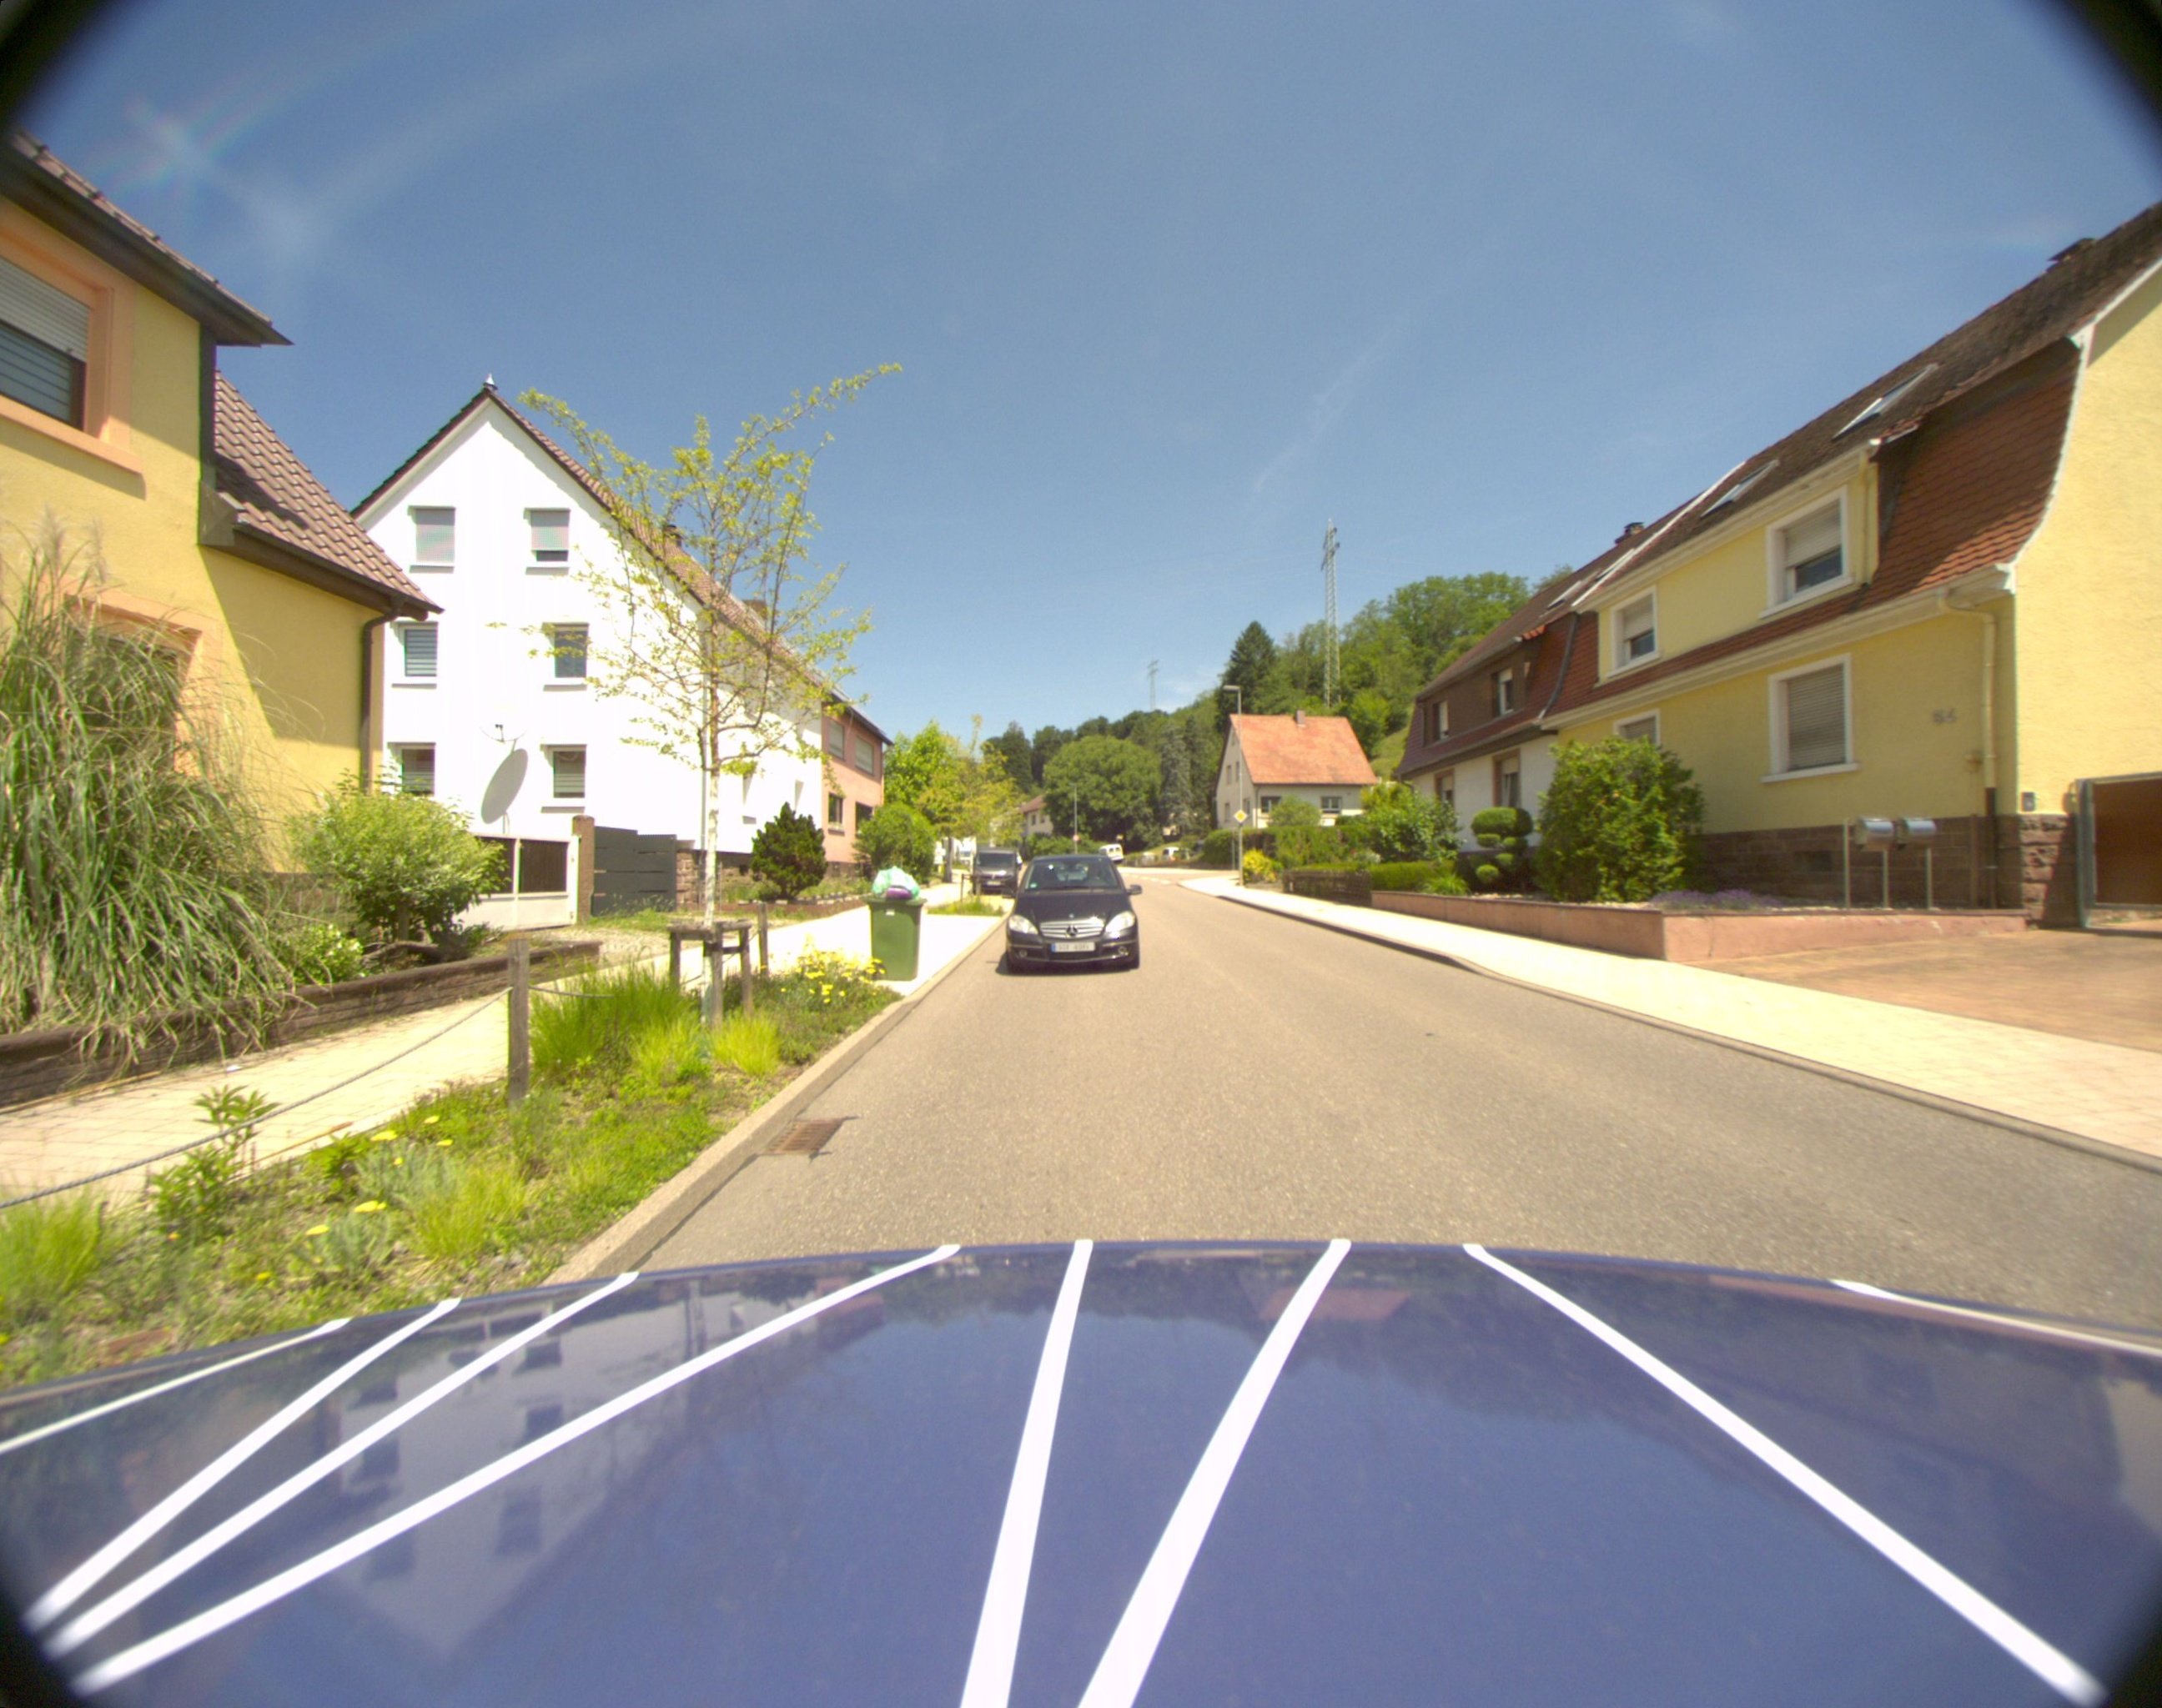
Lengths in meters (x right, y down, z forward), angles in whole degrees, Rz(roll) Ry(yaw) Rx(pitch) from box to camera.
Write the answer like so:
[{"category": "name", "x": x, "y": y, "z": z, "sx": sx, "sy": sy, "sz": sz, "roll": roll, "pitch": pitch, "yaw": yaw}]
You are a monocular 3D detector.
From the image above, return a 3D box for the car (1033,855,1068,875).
[{"category": "car", "x": -2.229, "y": 0.754, "z": 54.000, "sx": 1.912, "sy": 1.342, "sz": 3.996, "roll": -1, "pitch": 0, "yaw": -10}]

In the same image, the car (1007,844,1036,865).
[{"category": "car", "x": -5.583, "y": 0.046, "z": 70.652, "sx": 1.970, "sy": 1.823, "sz": 4.459, "roll": 0, "pitch": 0, "yaw": -13}]

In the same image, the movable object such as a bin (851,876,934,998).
[{"category": "movable object such as a bin", "x": -2.314, "y": 0.994, "z": 9.436, "sx": 0.794, "sy": 1.387, "sz": 0.925, "roll": -1, "pitch": 1, "yaw": -3}]

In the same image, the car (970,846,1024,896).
[{"category": "car", "x": -3.285, "y": 0.623, "z": 30.498, "sx": 1.860, "sy": 1.832, "sz": 4.669, "roll": 1, "pitch": 0, "yaw": -3}]

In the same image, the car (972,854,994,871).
[{"category": "car", "x": -8.487, "y": 0.694, "z": 65.485, "sx": 1.676, "sy": 1.368, "sz": 3.996, "roll": 0, "pitch": 0, "yaw": -10}]

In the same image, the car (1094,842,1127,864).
[{"category": "car", "x": 2.765, "y": -0.083, "z": 71.992, "sx": 1.706, "sy": 1.937, "sz": 3.993, "roll": -2, "pitch": 1, "yaw": -18}]

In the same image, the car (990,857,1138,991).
[{"category": "car", "x": -0.145, "y": 0.875, "z": 11.439, "sx": 1.790, "sy": 1.595, "sz": 4.075, "roll": -1, "pitch": 0, "yaw": 2}]

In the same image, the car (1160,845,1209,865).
[{"category": "car", "x": 9.465, "y": 0.081, "z": 69.349, "sx": 4.004, "sy": 1.779, "sz": 1.807, "roll": -2, "pitch": 1, "yaw": -23}]

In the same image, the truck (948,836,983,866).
[{"category": "truck", "x": -13.994, "y": -0.377, "z": 91.772, "sx": 2.810, "sy": 3.394, "sz": 8.106, "roll": -1, "pitch": 0, "yaw": -18}]
